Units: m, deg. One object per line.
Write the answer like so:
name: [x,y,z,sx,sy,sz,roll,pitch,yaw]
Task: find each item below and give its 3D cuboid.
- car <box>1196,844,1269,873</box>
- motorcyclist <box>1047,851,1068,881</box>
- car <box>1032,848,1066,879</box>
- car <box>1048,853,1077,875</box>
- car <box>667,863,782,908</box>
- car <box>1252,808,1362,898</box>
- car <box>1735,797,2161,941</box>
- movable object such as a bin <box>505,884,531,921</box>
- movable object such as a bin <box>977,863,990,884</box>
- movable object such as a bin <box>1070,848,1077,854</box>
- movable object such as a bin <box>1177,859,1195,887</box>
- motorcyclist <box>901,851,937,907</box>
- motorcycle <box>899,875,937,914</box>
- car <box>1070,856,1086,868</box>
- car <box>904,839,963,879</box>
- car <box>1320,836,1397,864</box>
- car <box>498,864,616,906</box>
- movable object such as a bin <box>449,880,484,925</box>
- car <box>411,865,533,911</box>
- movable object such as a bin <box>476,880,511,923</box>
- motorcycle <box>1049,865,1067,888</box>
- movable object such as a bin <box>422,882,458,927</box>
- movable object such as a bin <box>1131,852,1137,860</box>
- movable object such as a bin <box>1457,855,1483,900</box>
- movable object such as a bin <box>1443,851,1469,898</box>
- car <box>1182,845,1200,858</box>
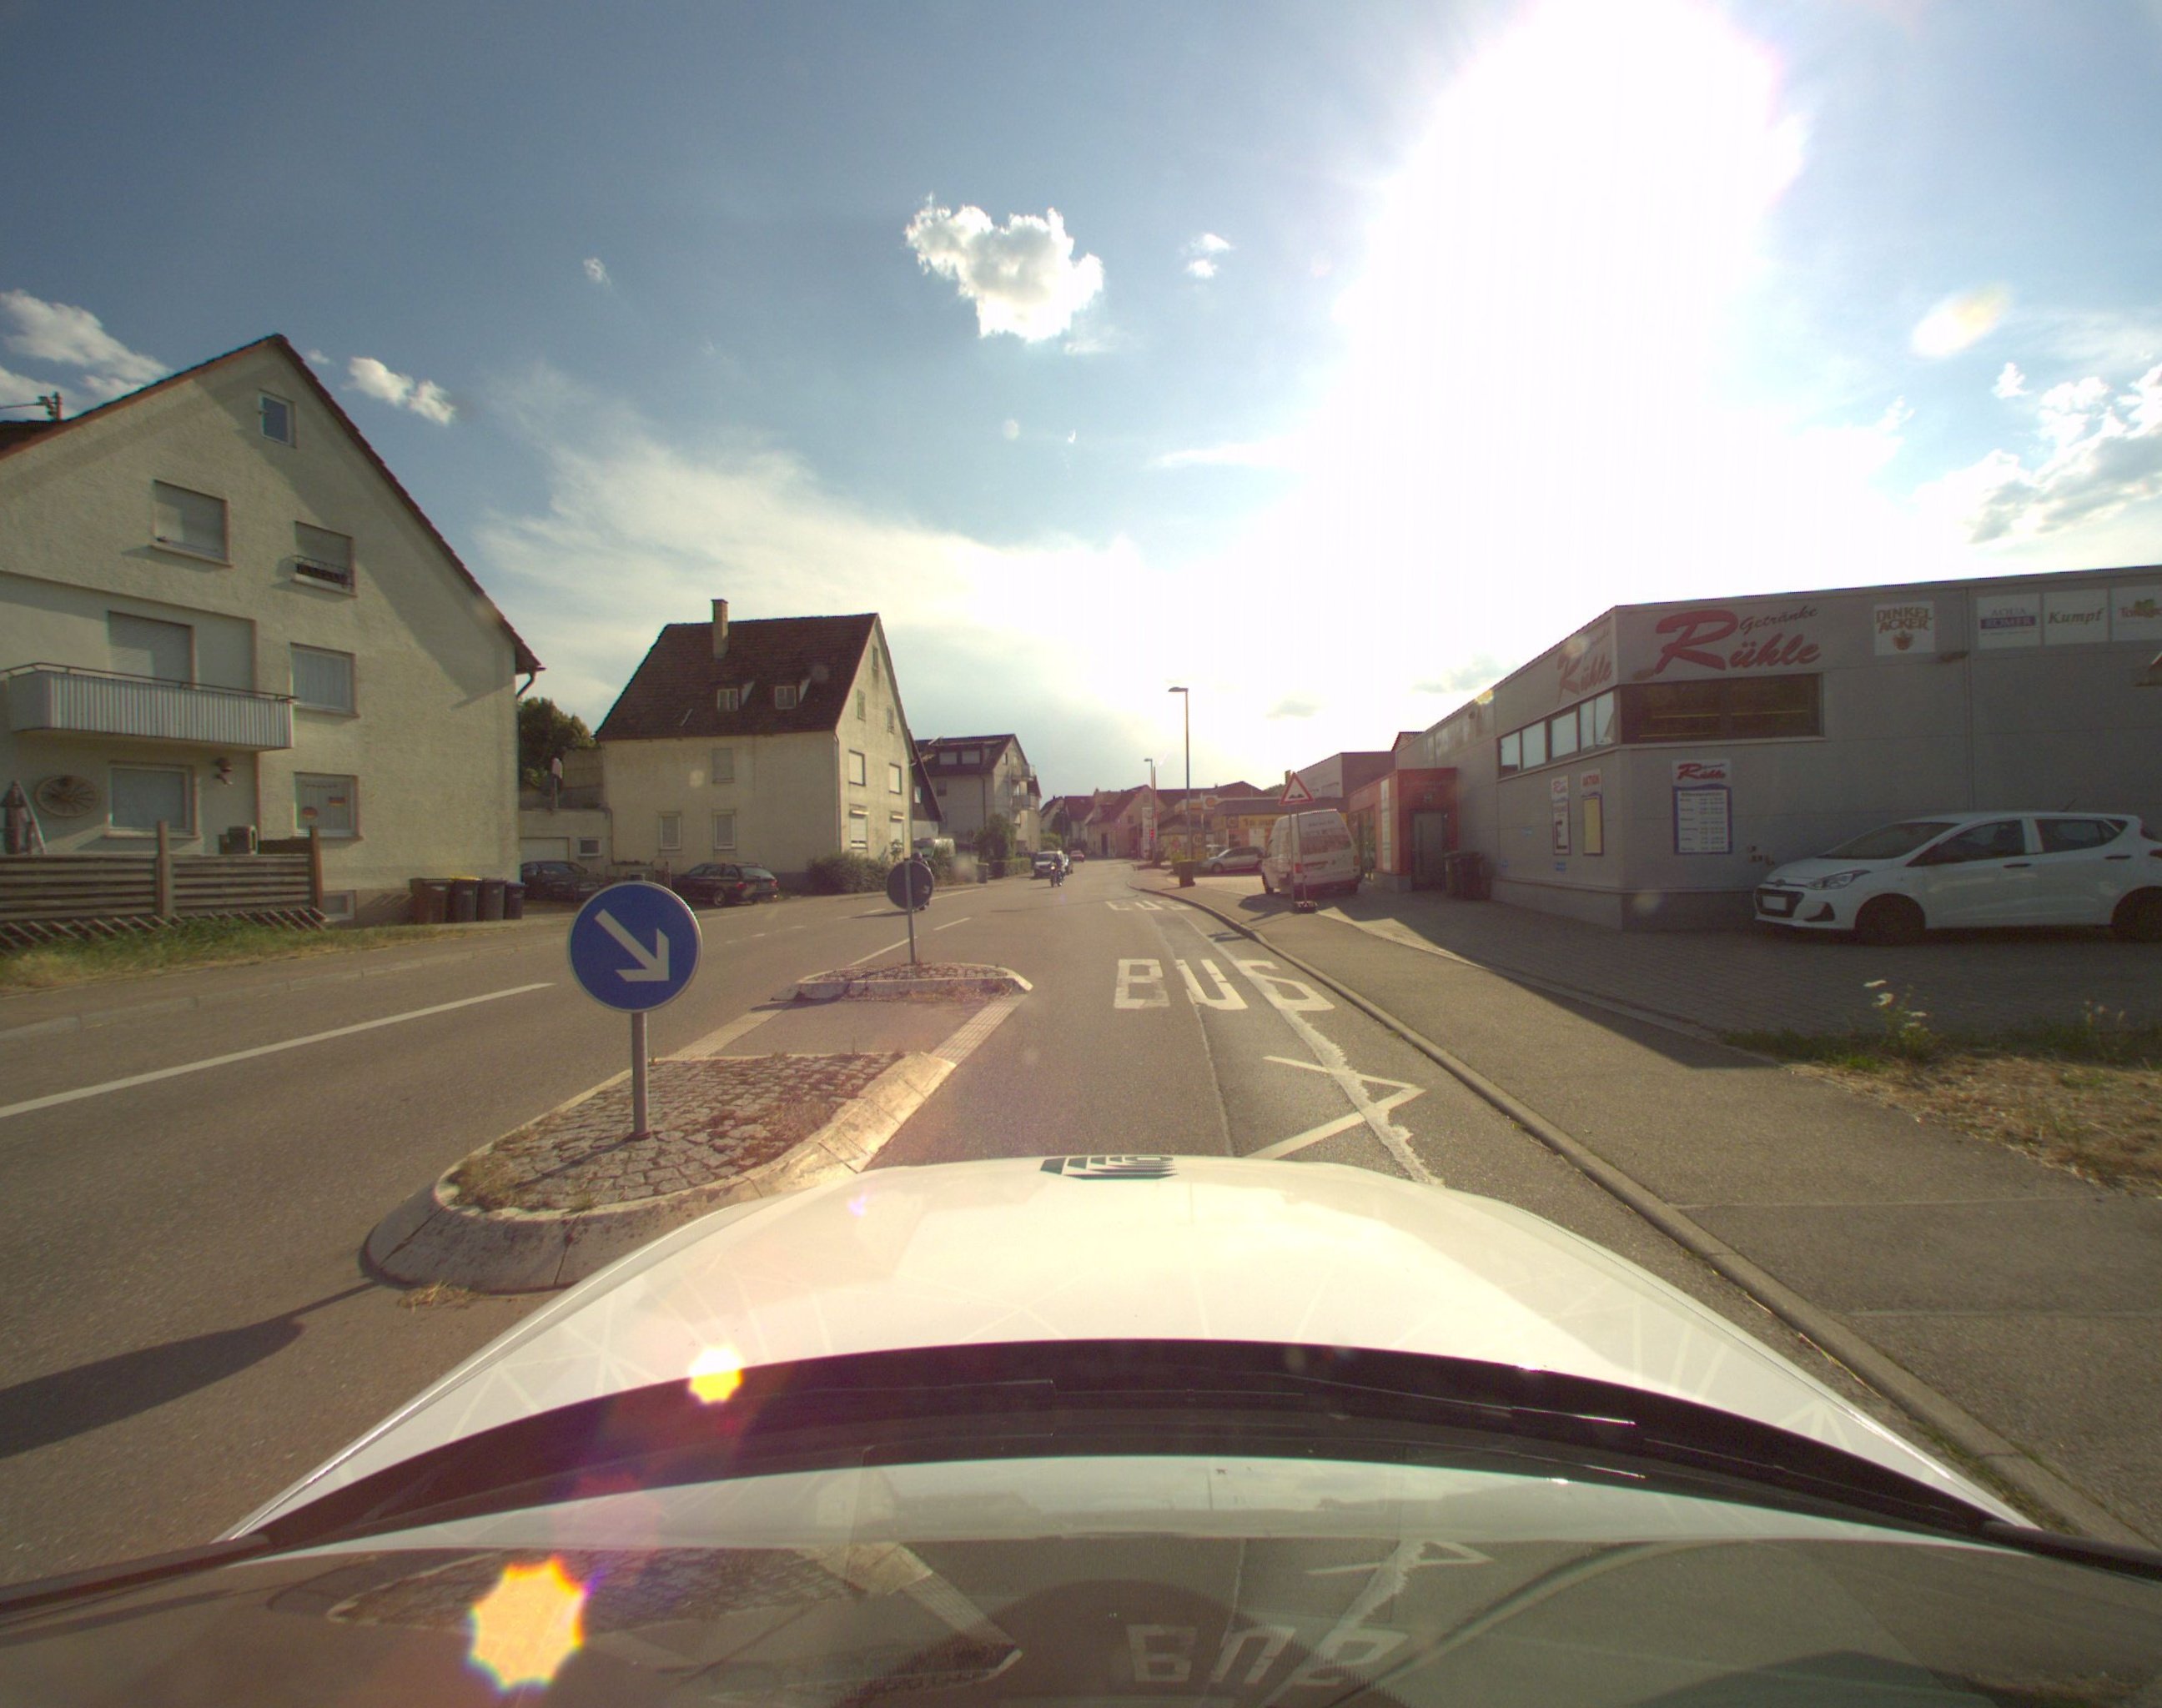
car: [8.918,0.263,48.227,3.977,1.531,1.526,-2,0,-3]
motorcyclist: [-1.109,0.559,38.639,0.798,1.436,1.039,0,0,8]
car: [-2.119,0.599,54.324,1.708,1.872,4.197,-3,0,4]
car: [-1.325,0.731,60.088,1.665,1.451,3.839,-2,0,4]
car: [-12.474,1.050,28.473,3.949,1.433,1.664,0,1,31]
car: [6.691,-0.046,24.704,1.830,2.375,5.177,-2,0,0]
car: [10.402,0.181,9.865,3.532,1.457,1.504,-3,0,12]
movable object such as a bin: [-14.195,1.221,20.531,0.358,0.925,0.402,-2,-2,20]
movable object such as a bin: [-5.244,1.031,43.784,0.608,1.101,0.576,0,-1,4]
movable object such as a bin: [-1.457,-0.611,153.634,1.160,1.168,0.653,-2,0,-9]
movable object such as a bin: [4.230,0.753,32.831,0.565,1.075,0.572,-3,0,-1]
motorcyclist: [-4.538,0.688,22.854,0.733,1.527,1.017,1,-1,3]
motorcycle: [-4.544,1.113,22.837,0.536,1.012,2.029,1,0,3]
car: [-0.370,0.996,104.697,1.706,1.434,3.774,-3,0,-5]
car: [-10.130,0.290,56.559,2.146,2.595,6.108,-1,1,8]
car: [16.242,-0.244,47.794,3.892,1.467,1.716,-2,2,-1]
car: [-18.681,1.070,29.045,3.950,1.361,1.696,0,1,25]
movable object such as a bin: [-14.628,1.152,19.397,0.358,1.041,0.560,-2,-2,20]
car: [-20.996,1.139,28.064,3.950,1.413,1.696,0,1,25]
movable object such as a bin: [-14.444,1.160,20.023,0.358,1.023,0.580,-2,-2,20]
motorcycle: [-1.069,1.061,38.693,0.521,1.012,2.032,0,0,8]
movable object such as a bin: [-14.845,1.165,18.866,0.358,1.016,0.560,-2,-2,20]
movable object such as a bin: [6.780,0.275,104.189,0.651,1.073,0.513,-2,0,0]
movable object such as a bin: [8.668,0.522,18.153,0.426,0.966,0.432,-1,0,11]
movable object such as a bin: [8.693,0.469,18.872,0.426,1.042,0.491,-1,0,11]
car: [12.546,-0.256,93.091,1.572,1.427,4.383,-1,1,2]
